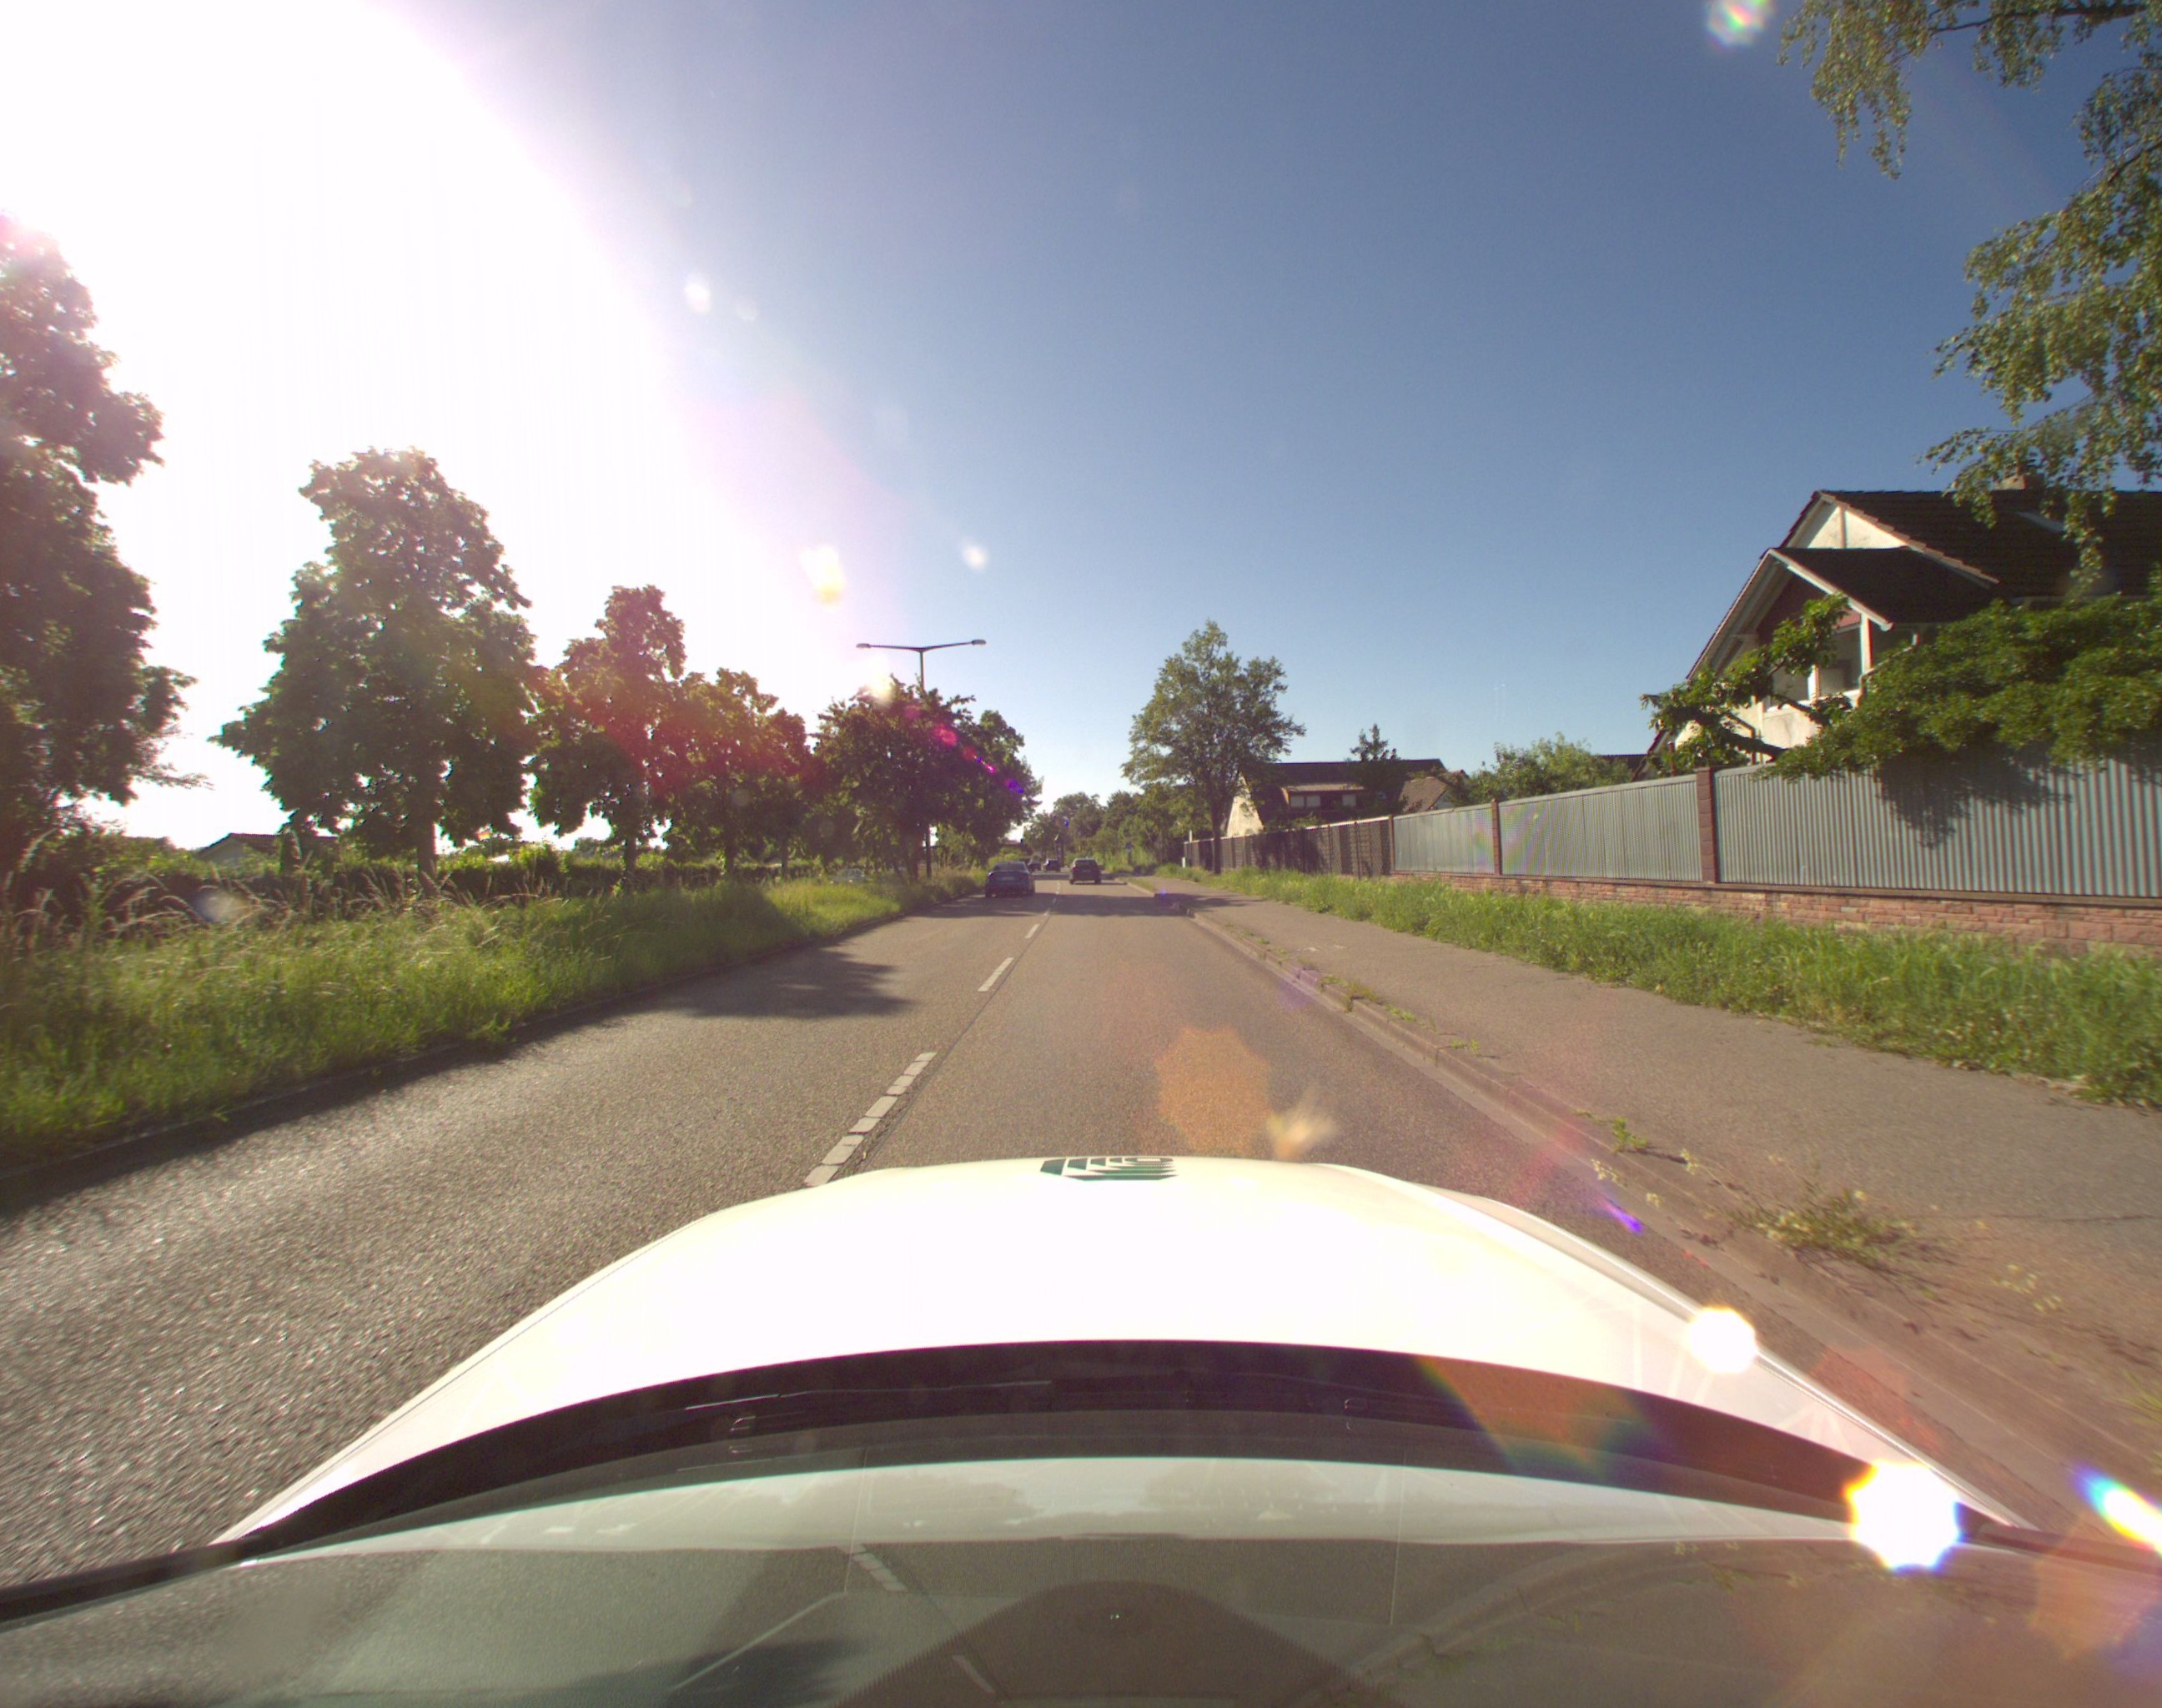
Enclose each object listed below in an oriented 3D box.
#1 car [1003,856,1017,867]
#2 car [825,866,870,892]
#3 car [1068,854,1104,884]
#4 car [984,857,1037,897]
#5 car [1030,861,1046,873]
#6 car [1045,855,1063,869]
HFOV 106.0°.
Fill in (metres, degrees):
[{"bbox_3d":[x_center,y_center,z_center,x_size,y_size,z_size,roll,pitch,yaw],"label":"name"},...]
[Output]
[{"bbox_3d":[-10.230,1.026,116.489,1.913,1.512,4.059,-2,0,-6],"label":"car"},{"bbox_3d":[-15.405,1.628,53.892,1.665,1.467,4.178,-5,0,0],"label":"car"},{"bbox_3d":[0.243,0.832,47.361,1.910,1.579,4.179,-2,0,-2],"label":"car"},{"bbox_3d":[-2.819,0.925,33.462,1.833,1.474,4.182,-2,-1,-1],"label":"car"},{"bbox_3d":[-6.323,1.850,119.155,1.914,1.678,4.002,-1,0,-8],"label":"car"},{"bbox_3d":[-3.135,0.918,95.182,1.912,1.579,4.176,-1,0,-4],"label":"car"}]
